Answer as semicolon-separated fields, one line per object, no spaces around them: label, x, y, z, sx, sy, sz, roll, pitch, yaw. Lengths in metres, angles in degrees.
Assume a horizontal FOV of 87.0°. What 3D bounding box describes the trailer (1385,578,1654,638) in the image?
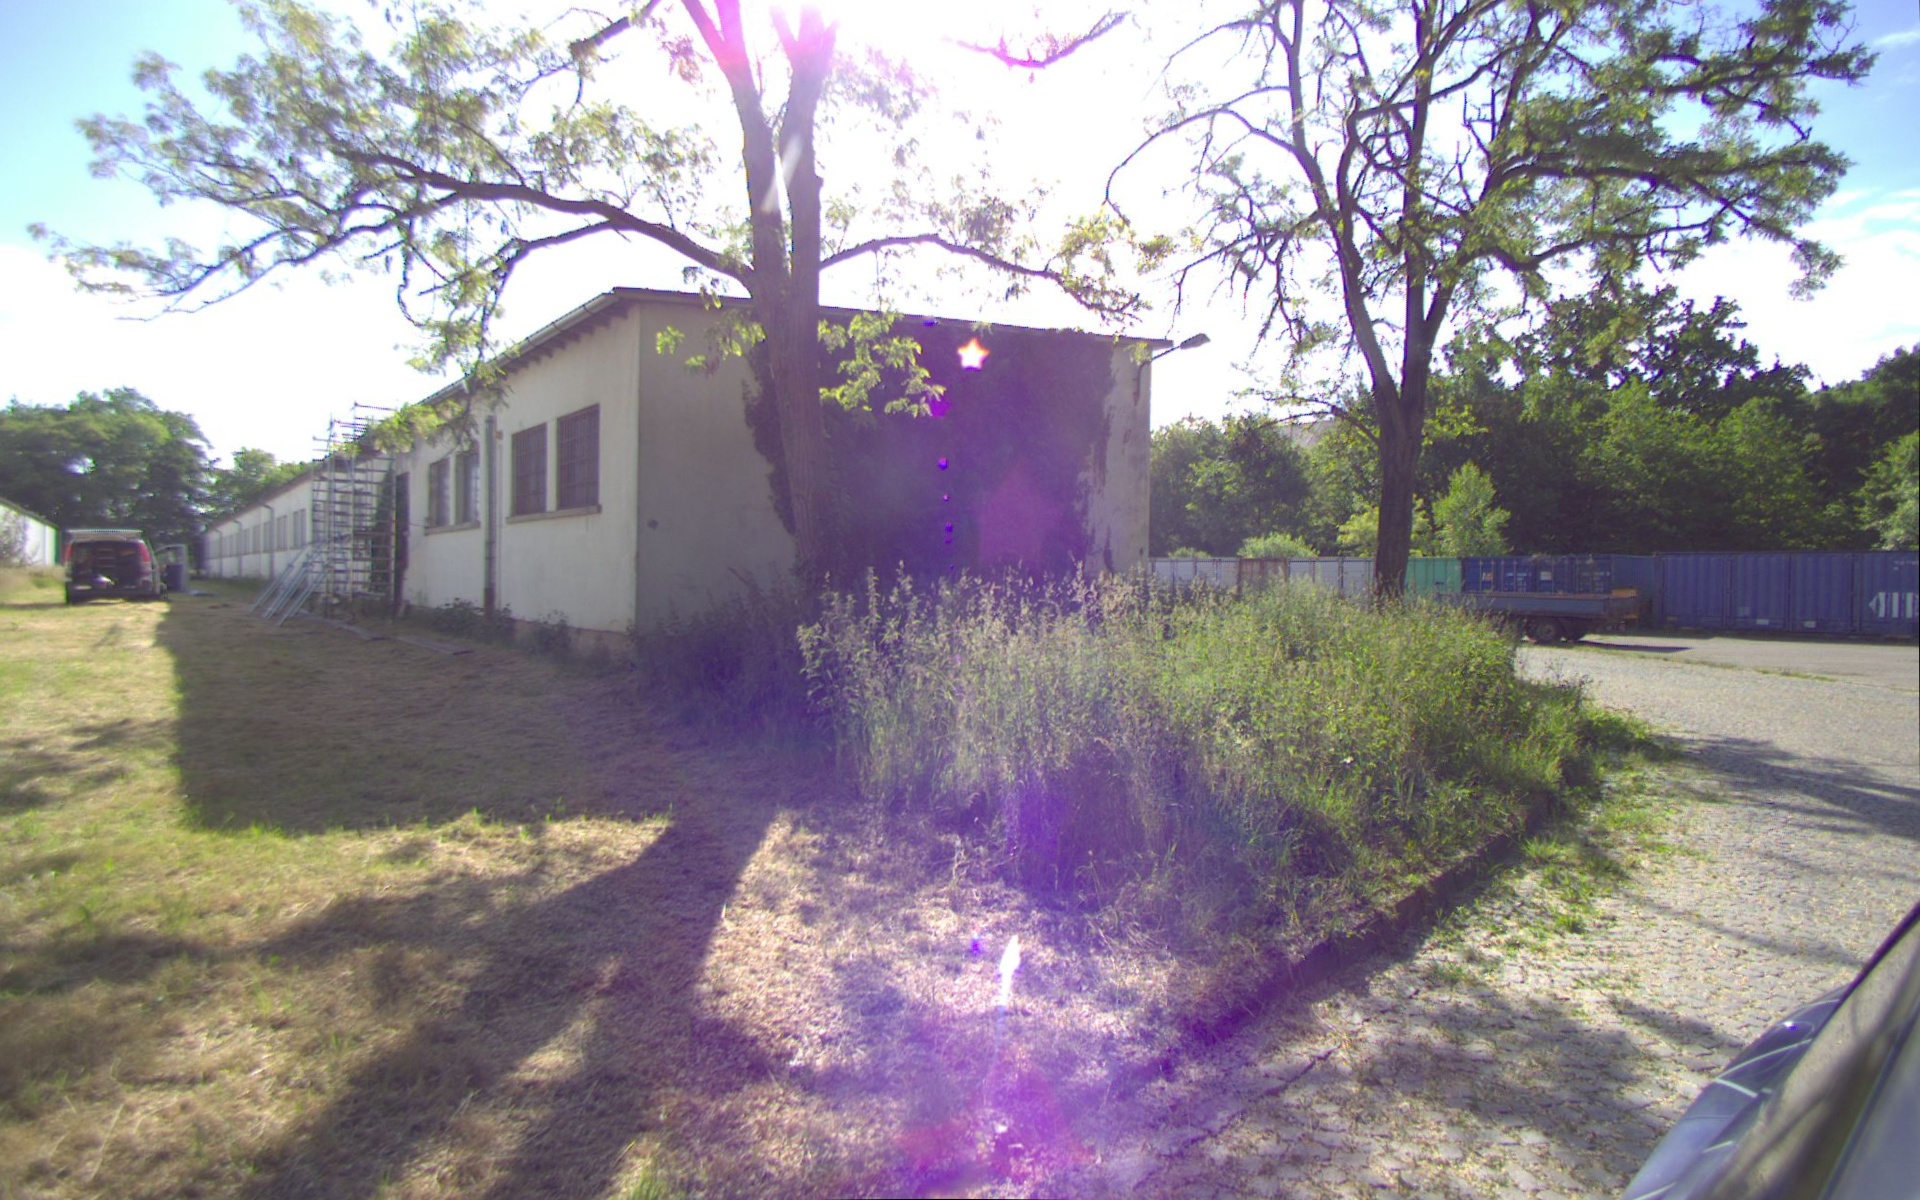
trailer;16.483;0.160;30.204;2.805;1.536;6.485;-2;2;-39

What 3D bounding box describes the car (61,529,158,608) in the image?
car;-23.902;-0.870;28.528;1.964;2.039;3.996;0;1;-39
